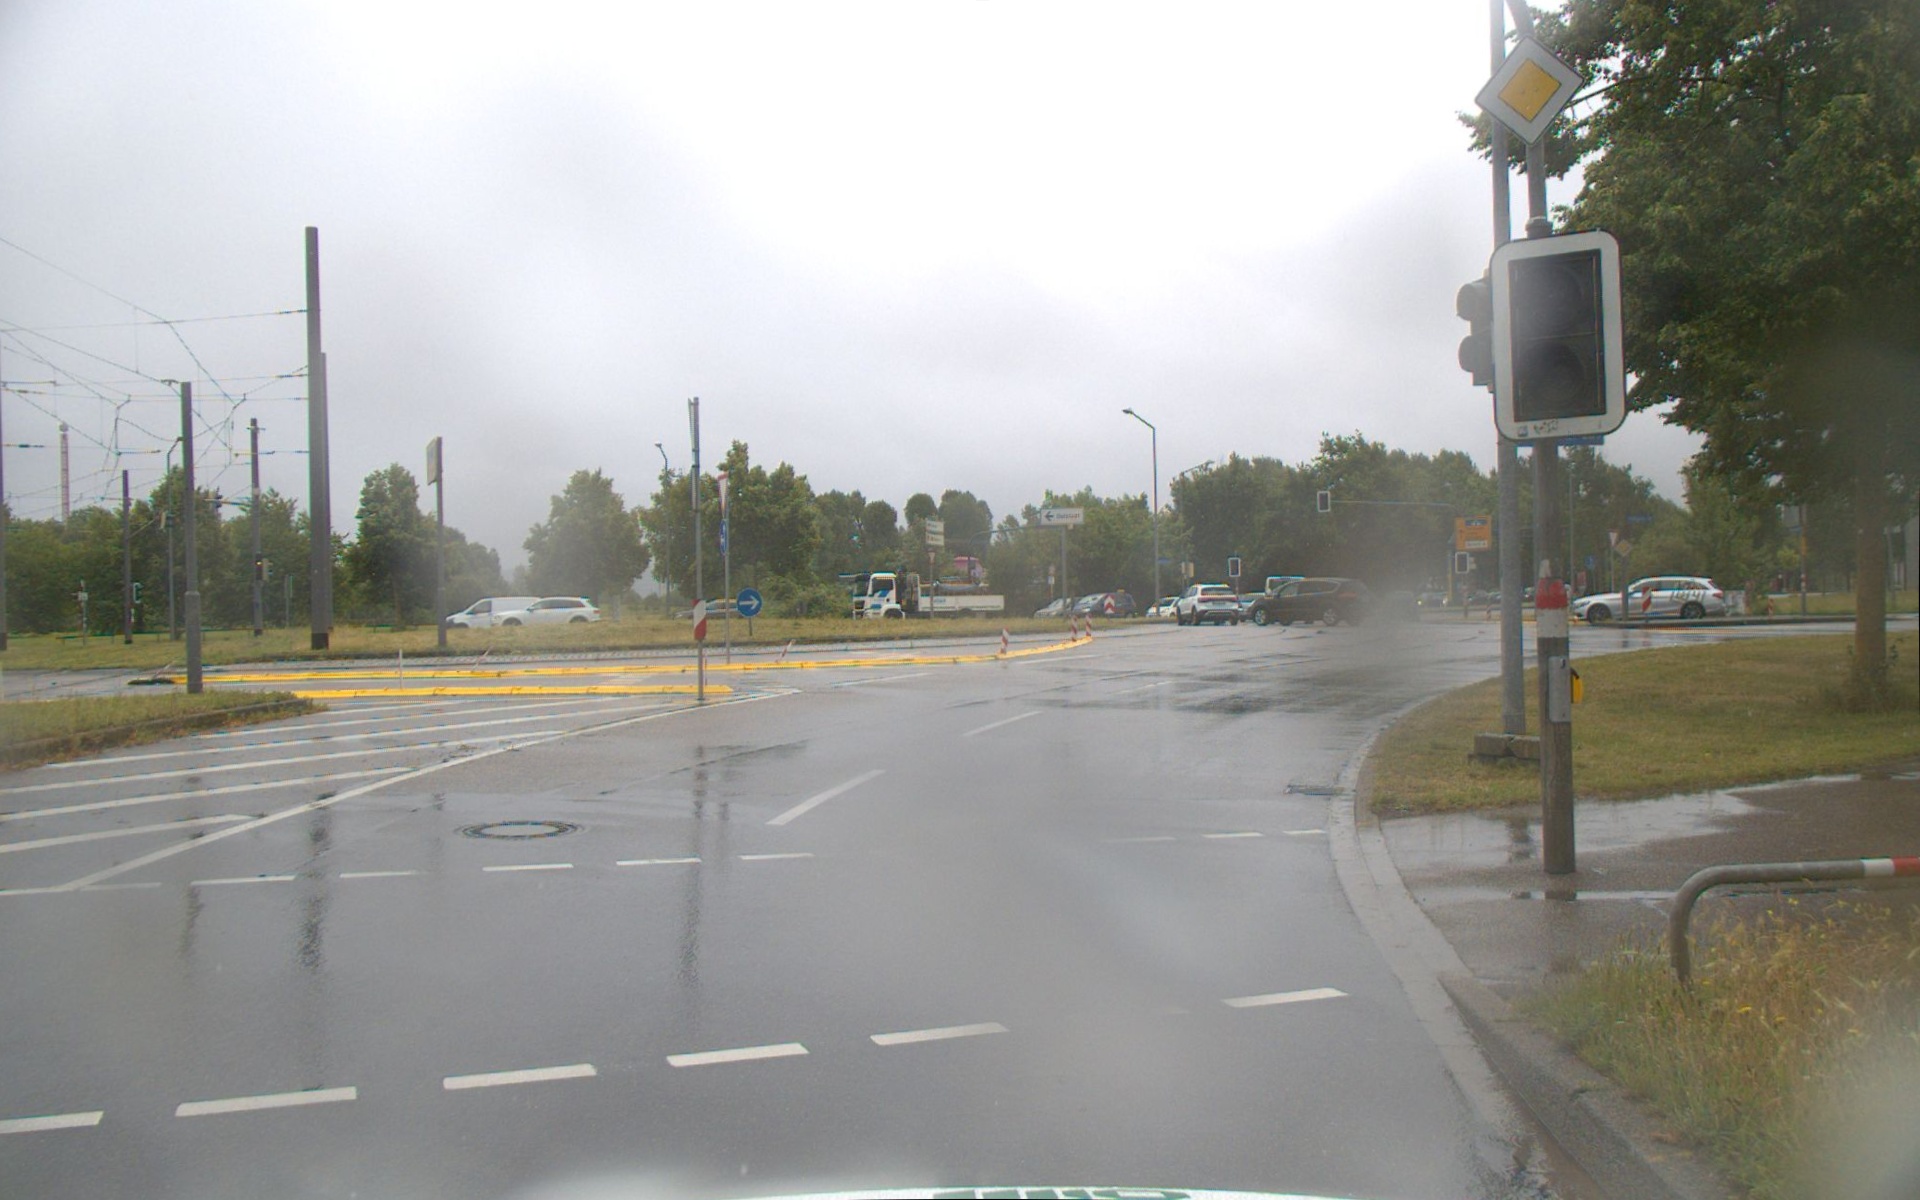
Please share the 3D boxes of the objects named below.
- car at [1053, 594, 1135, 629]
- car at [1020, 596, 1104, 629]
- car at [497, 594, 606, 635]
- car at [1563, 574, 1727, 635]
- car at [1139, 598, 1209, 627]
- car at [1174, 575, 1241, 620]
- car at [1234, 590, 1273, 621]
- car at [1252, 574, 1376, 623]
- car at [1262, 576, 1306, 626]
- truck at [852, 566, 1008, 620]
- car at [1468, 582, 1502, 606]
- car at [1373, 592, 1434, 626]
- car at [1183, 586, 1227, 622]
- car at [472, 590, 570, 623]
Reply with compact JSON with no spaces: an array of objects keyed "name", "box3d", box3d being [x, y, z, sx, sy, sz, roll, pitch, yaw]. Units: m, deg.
[{"name":"car","box3d":[7.117,0.614,87.620,1.747,1.774,4.835,1,0,43]},{"name":"car","box3d":[5.662,0.715,91.554,4.821,1.774,1.752,1,0,-41]},{"name":"car","box3d":[-18.741,0.663,75.833,4.772,1.774,1.770,1,0,-17]},{"name":"car","box3d":[22.027,0.132,53.362,4.720,1.842,1.790,1,0,16]},{"name":"car","box3d":[13.408,0.789,103.361,4.830,1.774,1.749,1,-1,-45]},{"name":"car","box3d":[9.714,-0.088,65.125,1.648,1.676,3.941,1,0,-6]},{"name":"car","box3d":[14.632,0.273,82.298,1.653,1.518,3.253,1,0,14]},{"name":"car","box3d":[12.474,-0.069,58.328,3.920,1.676,1.782,1,0,36]},{"name":"car","box3d":[14.131,0.052,72.245,1.745,2.072,4.003,1,0,10]},{"name":"truck","box3d":[-1.580,-0.348,90.474,8.671,2.759,1.981,1,-1,-29]},{"name":"car","box3d":[45.954,-0.511,144.664,1.758,2.049,3.659,1,0,36]},{"name":"car","box3d":[20.448,0.406,76.164,1.660,1.518,3.239,-1,0,35]},{"name":"car","box3d":[10.753,0.165,72.539,1.653,1.518,3.253,1,0,13]},{"name":"car","box3d":[-21.127,0.314,79.723,4.457,1.518,1.606,1,0,-14]}]
